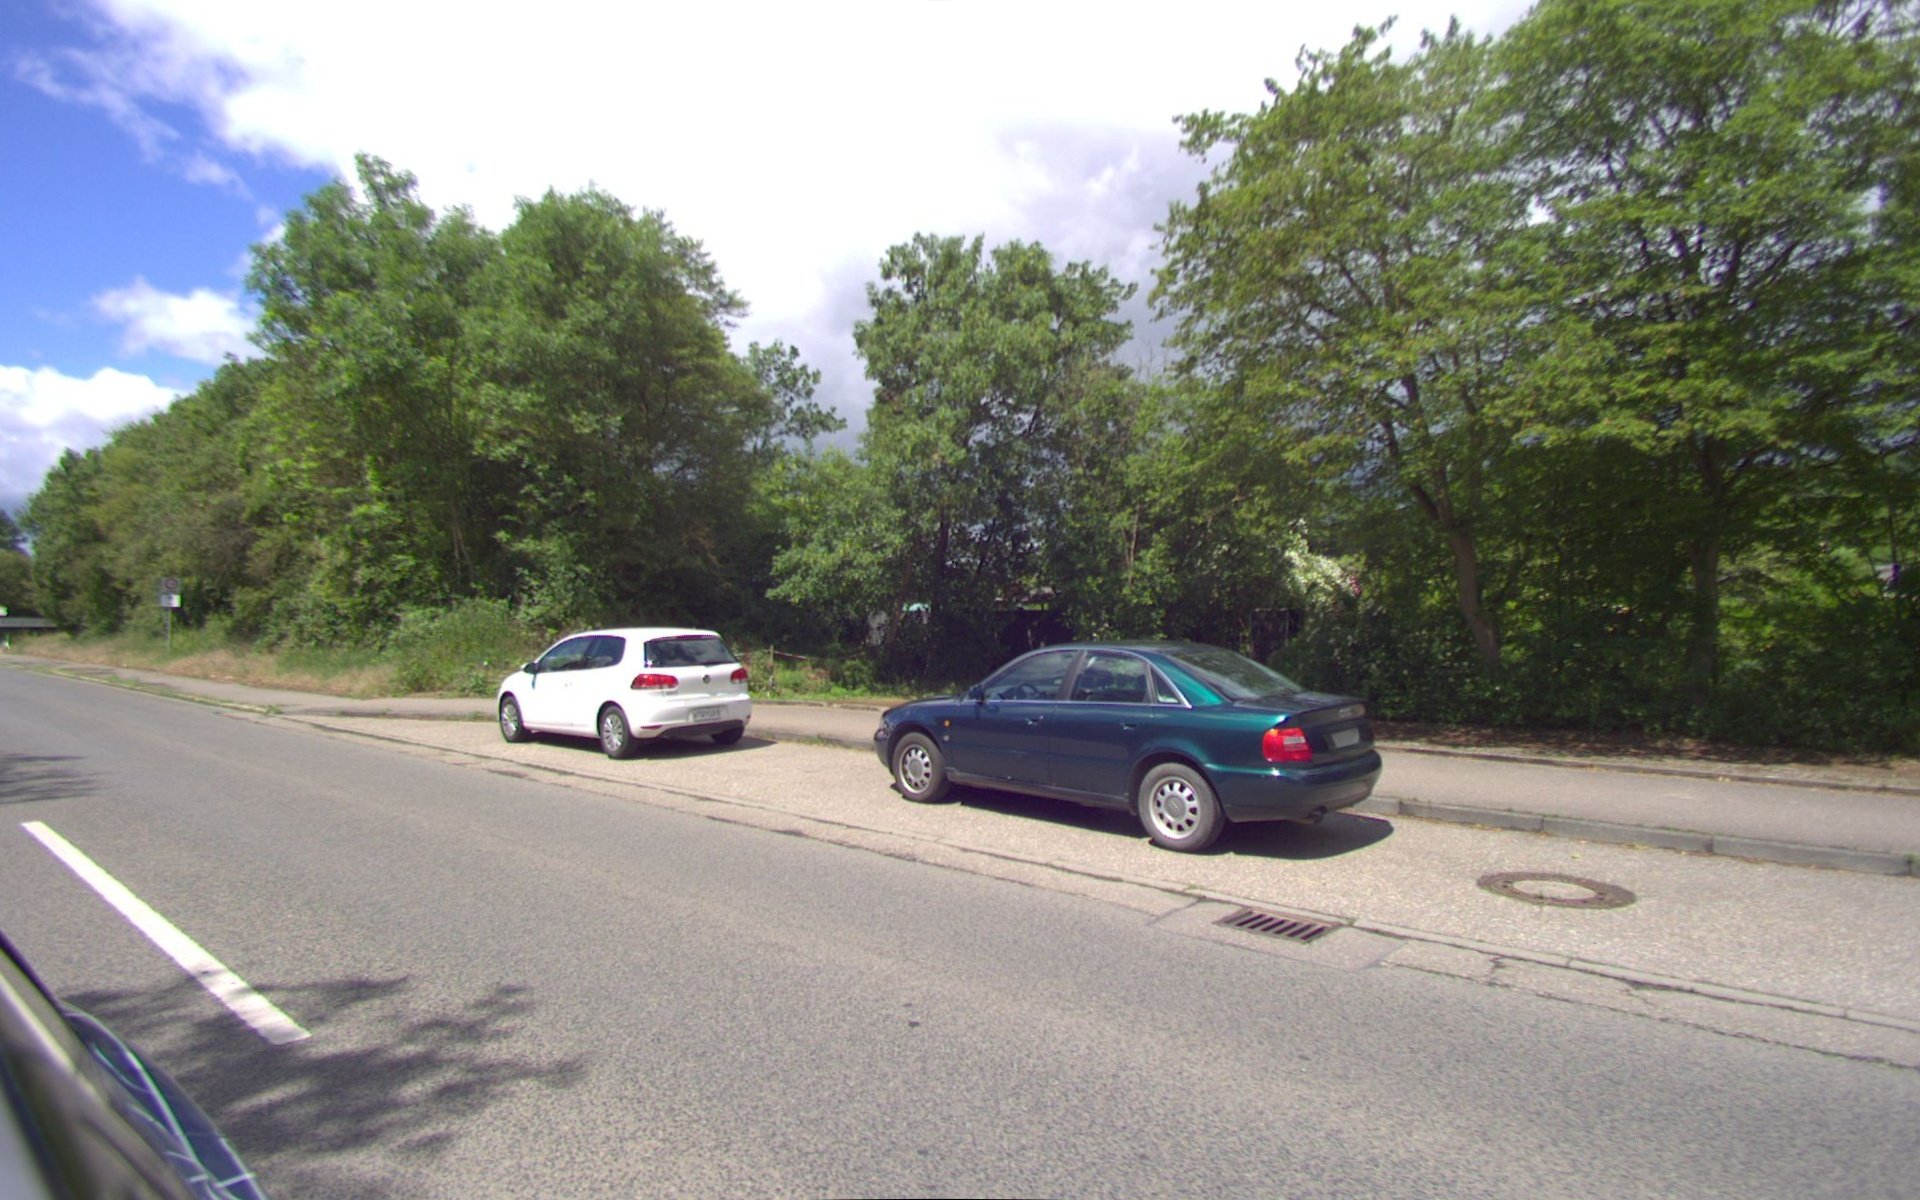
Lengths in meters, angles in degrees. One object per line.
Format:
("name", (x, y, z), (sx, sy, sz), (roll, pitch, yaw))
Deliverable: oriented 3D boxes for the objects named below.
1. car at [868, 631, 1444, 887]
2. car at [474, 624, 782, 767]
("car", (1.325, 1.003, 8.105), (4.266, 1.418, 1.748), (-1, 0, 44))
("car", (-4.340, 1.073, 12.917), (4.242, 1.481, 1.750), (-1, 0, 40))
